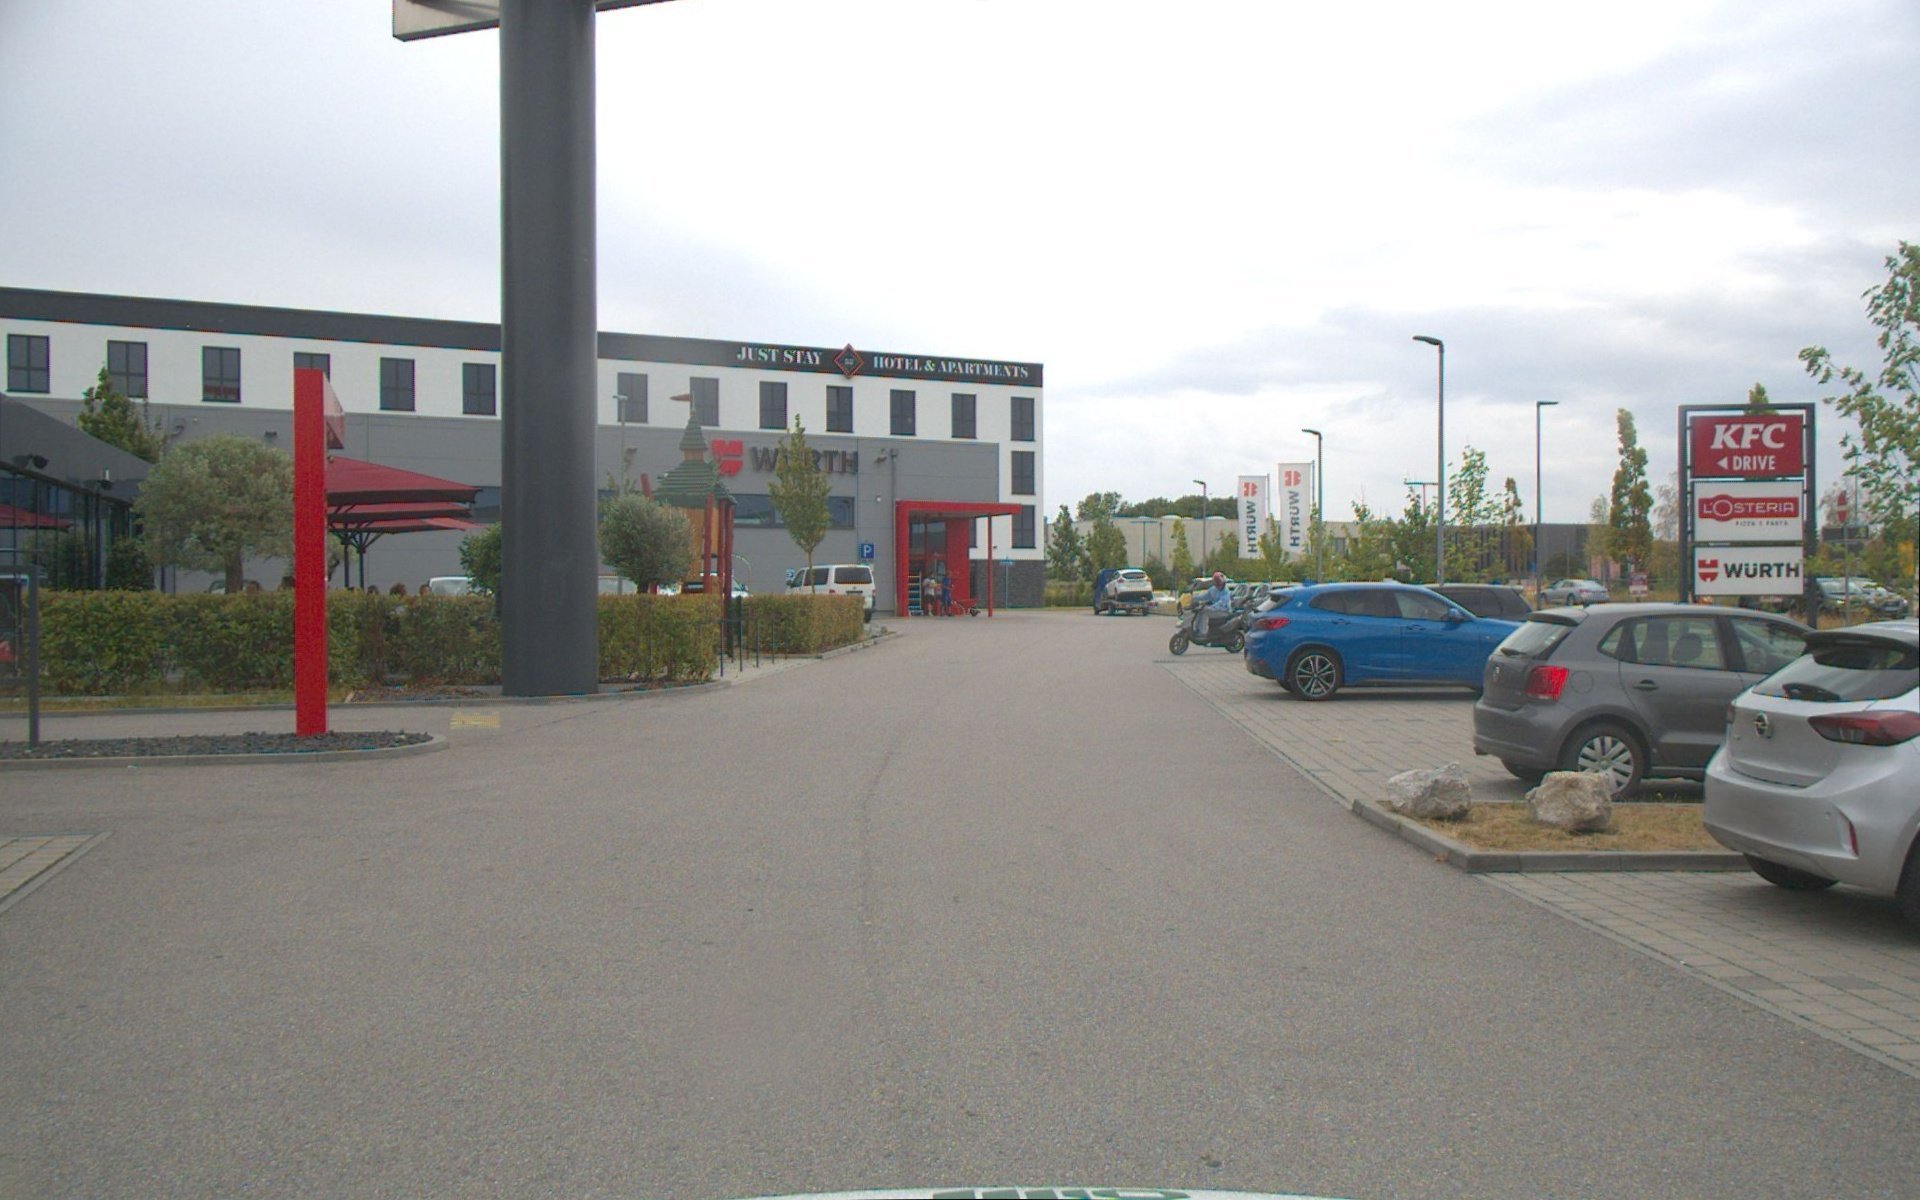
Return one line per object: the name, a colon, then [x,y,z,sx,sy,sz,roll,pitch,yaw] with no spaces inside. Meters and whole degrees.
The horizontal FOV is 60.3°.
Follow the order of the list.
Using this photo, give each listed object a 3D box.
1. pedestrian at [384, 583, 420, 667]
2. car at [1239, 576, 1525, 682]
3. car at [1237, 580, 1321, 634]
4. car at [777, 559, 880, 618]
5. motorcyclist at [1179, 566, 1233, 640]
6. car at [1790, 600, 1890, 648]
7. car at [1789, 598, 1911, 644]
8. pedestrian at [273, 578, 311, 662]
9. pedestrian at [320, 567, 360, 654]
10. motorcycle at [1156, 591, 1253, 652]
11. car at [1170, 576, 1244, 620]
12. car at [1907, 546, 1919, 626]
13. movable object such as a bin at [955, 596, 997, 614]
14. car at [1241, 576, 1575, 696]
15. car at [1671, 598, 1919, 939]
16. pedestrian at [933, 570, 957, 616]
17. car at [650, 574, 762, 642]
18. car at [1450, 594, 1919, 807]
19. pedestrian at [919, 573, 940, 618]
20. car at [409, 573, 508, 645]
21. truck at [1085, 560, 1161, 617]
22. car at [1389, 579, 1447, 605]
pedestrian: [-8.302,0.363,24.621,0.412,1.220,0.455,-2,0,-12]
car: [6.353,0.425,25.254,3.975,1.485,1.777,-1,1,5]
car: [9.119,0.172,47.563,1.715,1.495,4.477,0,0,2]
car: [-4.685,-0.396,58.368,2.034,1.887,4.020,-4,2,-30]
motorcyclist: [5.146,0.065,34.635,0.920,1.515,0.829,-1,0,-6]
car: [26.742,0.710,50.348,1.431,1.360,3.164,0,1,2]
car: [29.473,0.664,54.912,1.727,1.419,4.218,0,0,-1]
pedestrian: [-9.936,0.289,24.608,0.412,1.220,0.455,-2,0,-12]
pedestrian: [-12.981,0.220,34.653,0.729,1.778,0.699,-2,0,-20]
motorcycle: [5.109,0.447,34.650,1.878,1.229,0.794,-1,0,-6]
car: [9.775,-0.073,65.730,1.822,1.679,3.992,1,0,-8]
car: [26.210,-0.338,41.843,1.951,2.122,5.235,-1,1,6]
movable object such as a bin: [0.647,0.192,66.906,1.466,0.716,0.959,1,0,-21]
car: [5.998,0.457,22.537,4.114,1.571,1.865,0,0,3]
car: [5.770,0.765,8.012,3.847,1.437,1.839,1,0,-2]
pedestrian: [-0.599,-0.282,66.371,0.666,1.834,0.875,1,0,-20]
car: [-6.937,0.211,44.788,1.966,1.679,4.547,-2,0,-22]
car: [5.977,0.727,12.717,3.904,1.453,1.728,1,0,1]
pedestrian: [-1.210,-0.180,65.584,0.614,1.782,0.901,0,0,-18]
car: [-12.815,0.219,42.088,1.966,1.679,4.547,-2,0,-22]
truck: [8.043,-0.508,82.284,2.286,2.449,7.886,1,-2,-5]
car: [29.199,-0.533,105.635,1.763,1.579,4.845,-2,0,-8]
